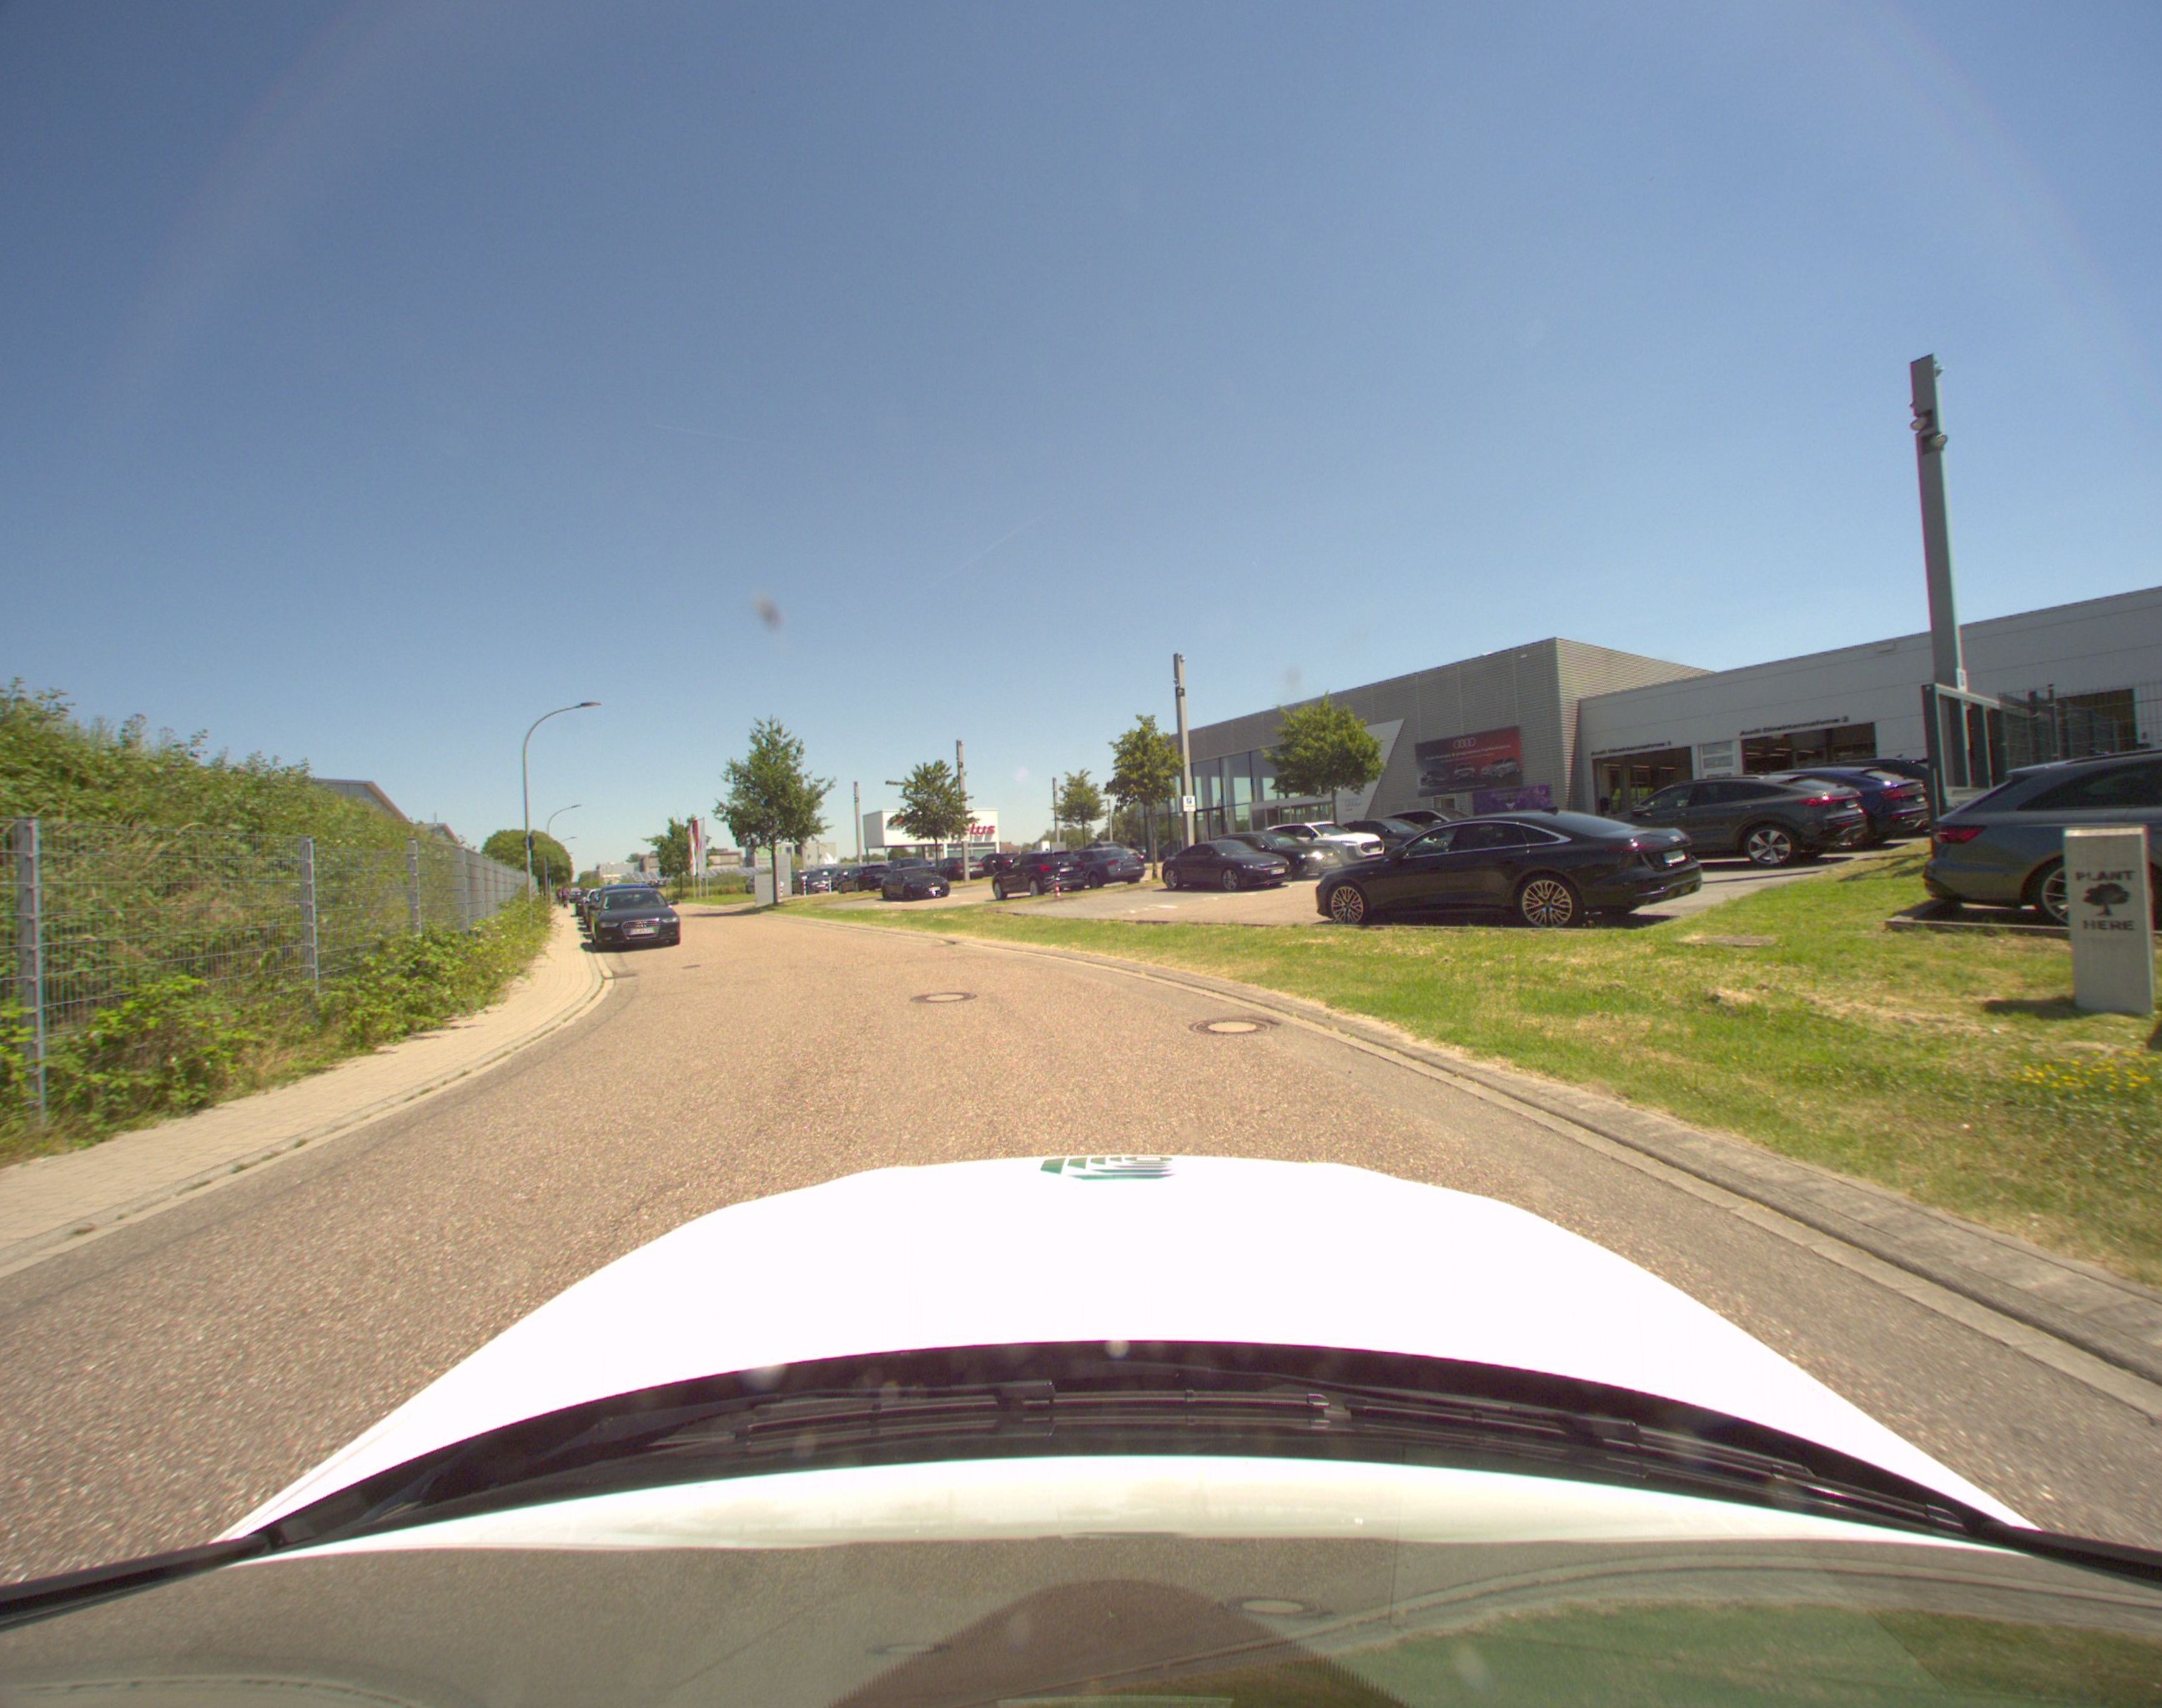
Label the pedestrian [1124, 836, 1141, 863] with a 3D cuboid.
[{"bbox_3d":[3.559,-0.317,56.315,0.775,1.776,0.738,-4,-1,-28],"label":"pedestrian"}]

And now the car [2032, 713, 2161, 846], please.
[{"bbox_3d":[15.276,-1.111,9.901,1.976,1.630,4.577,-6,1,-34],"label":"car"}]

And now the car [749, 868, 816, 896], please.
[{"bbox_3d":[-23.492,2.205,64.150,4.563,1.692,2.009,-5,0,-35],"label":"car"}]

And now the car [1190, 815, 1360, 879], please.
[{"bbox_3d":[5.783,-0.149,24.977,1.976,1.553,4.952,-6,1,-34],"label":"car"}]

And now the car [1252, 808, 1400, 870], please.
[{"bbox_3d":[7.895,-0.443,26.650,1.976,1.613,4.243,-6,1,-34],"label":"car"}]

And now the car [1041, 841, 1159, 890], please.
[{"bbox_3d":[0.581,0.451,28.696,1.976,1.366,4.182,-7,1,-34],"label":"car"}]

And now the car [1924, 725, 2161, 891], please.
[{"bbox_3d":[11.244,-0.544,7.252,1.833,1.528,4.892,-6,1,-34],"label":"car"}]

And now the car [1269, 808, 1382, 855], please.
[{"bbox_3d":[10.510,-0.934,35.331,1.975,1.591,4.383,-7,1,-31],"label":"car"}]

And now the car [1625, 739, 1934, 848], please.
[{"bbox_3d":[13.945,-1.126,16.550,1.838,1.694,4.370,-4,0,-34],"label":"car"}]

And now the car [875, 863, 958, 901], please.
[{"bbox_3d":[-7.414,1.242,36.364,1.976,1.366,4.671,-7,2,-33],"label":"car"}]

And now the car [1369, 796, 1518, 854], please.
[{"bbox_3d":[13.440,-1.036,30.479,1.976,1.739,4.678,-6,1,-34],"label":"car"}]

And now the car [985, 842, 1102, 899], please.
[{"bbox_3d":[-1.346,0.602,27.497,1.902,1.571,4.182,-7,1,-34],"label":"car"}]

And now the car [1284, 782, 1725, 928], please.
[{"bbox_3d":[5.382,0.068,11.146,1.893,1.454,4.970,-6,1,-34],"label":"car"}]

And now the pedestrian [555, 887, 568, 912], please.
[{"bbox_3d":[-38.509,3.375,60.349,0.749,1.802,1.123,-1,-2,-31],"label":"pedestrian"}]

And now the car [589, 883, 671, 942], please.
[{"bbox_3d":[-14.334,1.797,25.788,1.838,1.570,4.340,-4,0,-34],"label":"car"}]

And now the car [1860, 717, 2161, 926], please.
[{"bbox_3d":[8.938,-0.341,5.534,1.976,1.467,4.892,-5,-1,-34],"label":"car"}]

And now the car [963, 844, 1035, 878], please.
[{"bbox_3d":[-4.756,0.458,46.535,1.975,1.456,4.933,-5,-1,-33],"label":"car"}]

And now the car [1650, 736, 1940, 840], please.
[{"bbox_3d":[16.172,-1.429,18.723,1.976,1.742,4.577,-8,2,-34],"label":"car"}]

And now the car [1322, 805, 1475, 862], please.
[{"bbox_3d":[10.530,-0.641,27.324,1.976,1.476,4.326,-6,1,-34],"label":"car"}]

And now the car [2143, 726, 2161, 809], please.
[{"bbox_3d":[23.414,-1.903,14.965,1.976,1.630,4.577,-6,1,-34],"label":"car"}]

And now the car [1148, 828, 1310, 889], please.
[{"bbox_3d":[4.053,0.169,22.909,1.976,1.374,4.265,-6,1,-34],"label":"car"}]

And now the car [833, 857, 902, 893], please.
[{"bbox_3d":[-11.288,1.123,42.767,1.975,1.456,4.933,-5,-1,-33],"label":"car"}]

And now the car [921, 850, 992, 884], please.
[{"bbox_3d":[-7.031,0.774,45.475,1.975,1.456,4.933,-5,-1,-33],"label":"car"}]

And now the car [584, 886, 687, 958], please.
[{"bbox_3d":[-11.408,1.649,20.711,1.838,1.454,4.532,-4,0,-34],"label":"car"}]

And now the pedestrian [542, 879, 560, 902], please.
[{"bbox_3d":[-46.452,3.216,71.401,0.835,1.973,0.967,-3,-2,7],"label":"pedestrian"}]

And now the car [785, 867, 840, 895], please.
[{"bbox_3d":[-17.423,1.768,52.682,2.039,1.514,5.185,-7,1,-32],"label":"car"}]

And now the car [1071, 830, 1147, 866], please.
[{"bbox_3d":[1.605,-0.310,49.093,1.975,1.620,4.933,-5,-1,-33],"label":"car"}]

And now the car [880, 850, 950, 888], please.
[{"bbox_3d":[-9.103,0.845,44.440,1.975,1.598,4.933,-5,-1,-33],"label":"car"}]

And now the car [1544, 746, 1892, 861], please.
[{"bbox_3d":[11.633,-0.824,15.278,1.838,1.643,4.735,-4,0,-34],"label":"car"}]
